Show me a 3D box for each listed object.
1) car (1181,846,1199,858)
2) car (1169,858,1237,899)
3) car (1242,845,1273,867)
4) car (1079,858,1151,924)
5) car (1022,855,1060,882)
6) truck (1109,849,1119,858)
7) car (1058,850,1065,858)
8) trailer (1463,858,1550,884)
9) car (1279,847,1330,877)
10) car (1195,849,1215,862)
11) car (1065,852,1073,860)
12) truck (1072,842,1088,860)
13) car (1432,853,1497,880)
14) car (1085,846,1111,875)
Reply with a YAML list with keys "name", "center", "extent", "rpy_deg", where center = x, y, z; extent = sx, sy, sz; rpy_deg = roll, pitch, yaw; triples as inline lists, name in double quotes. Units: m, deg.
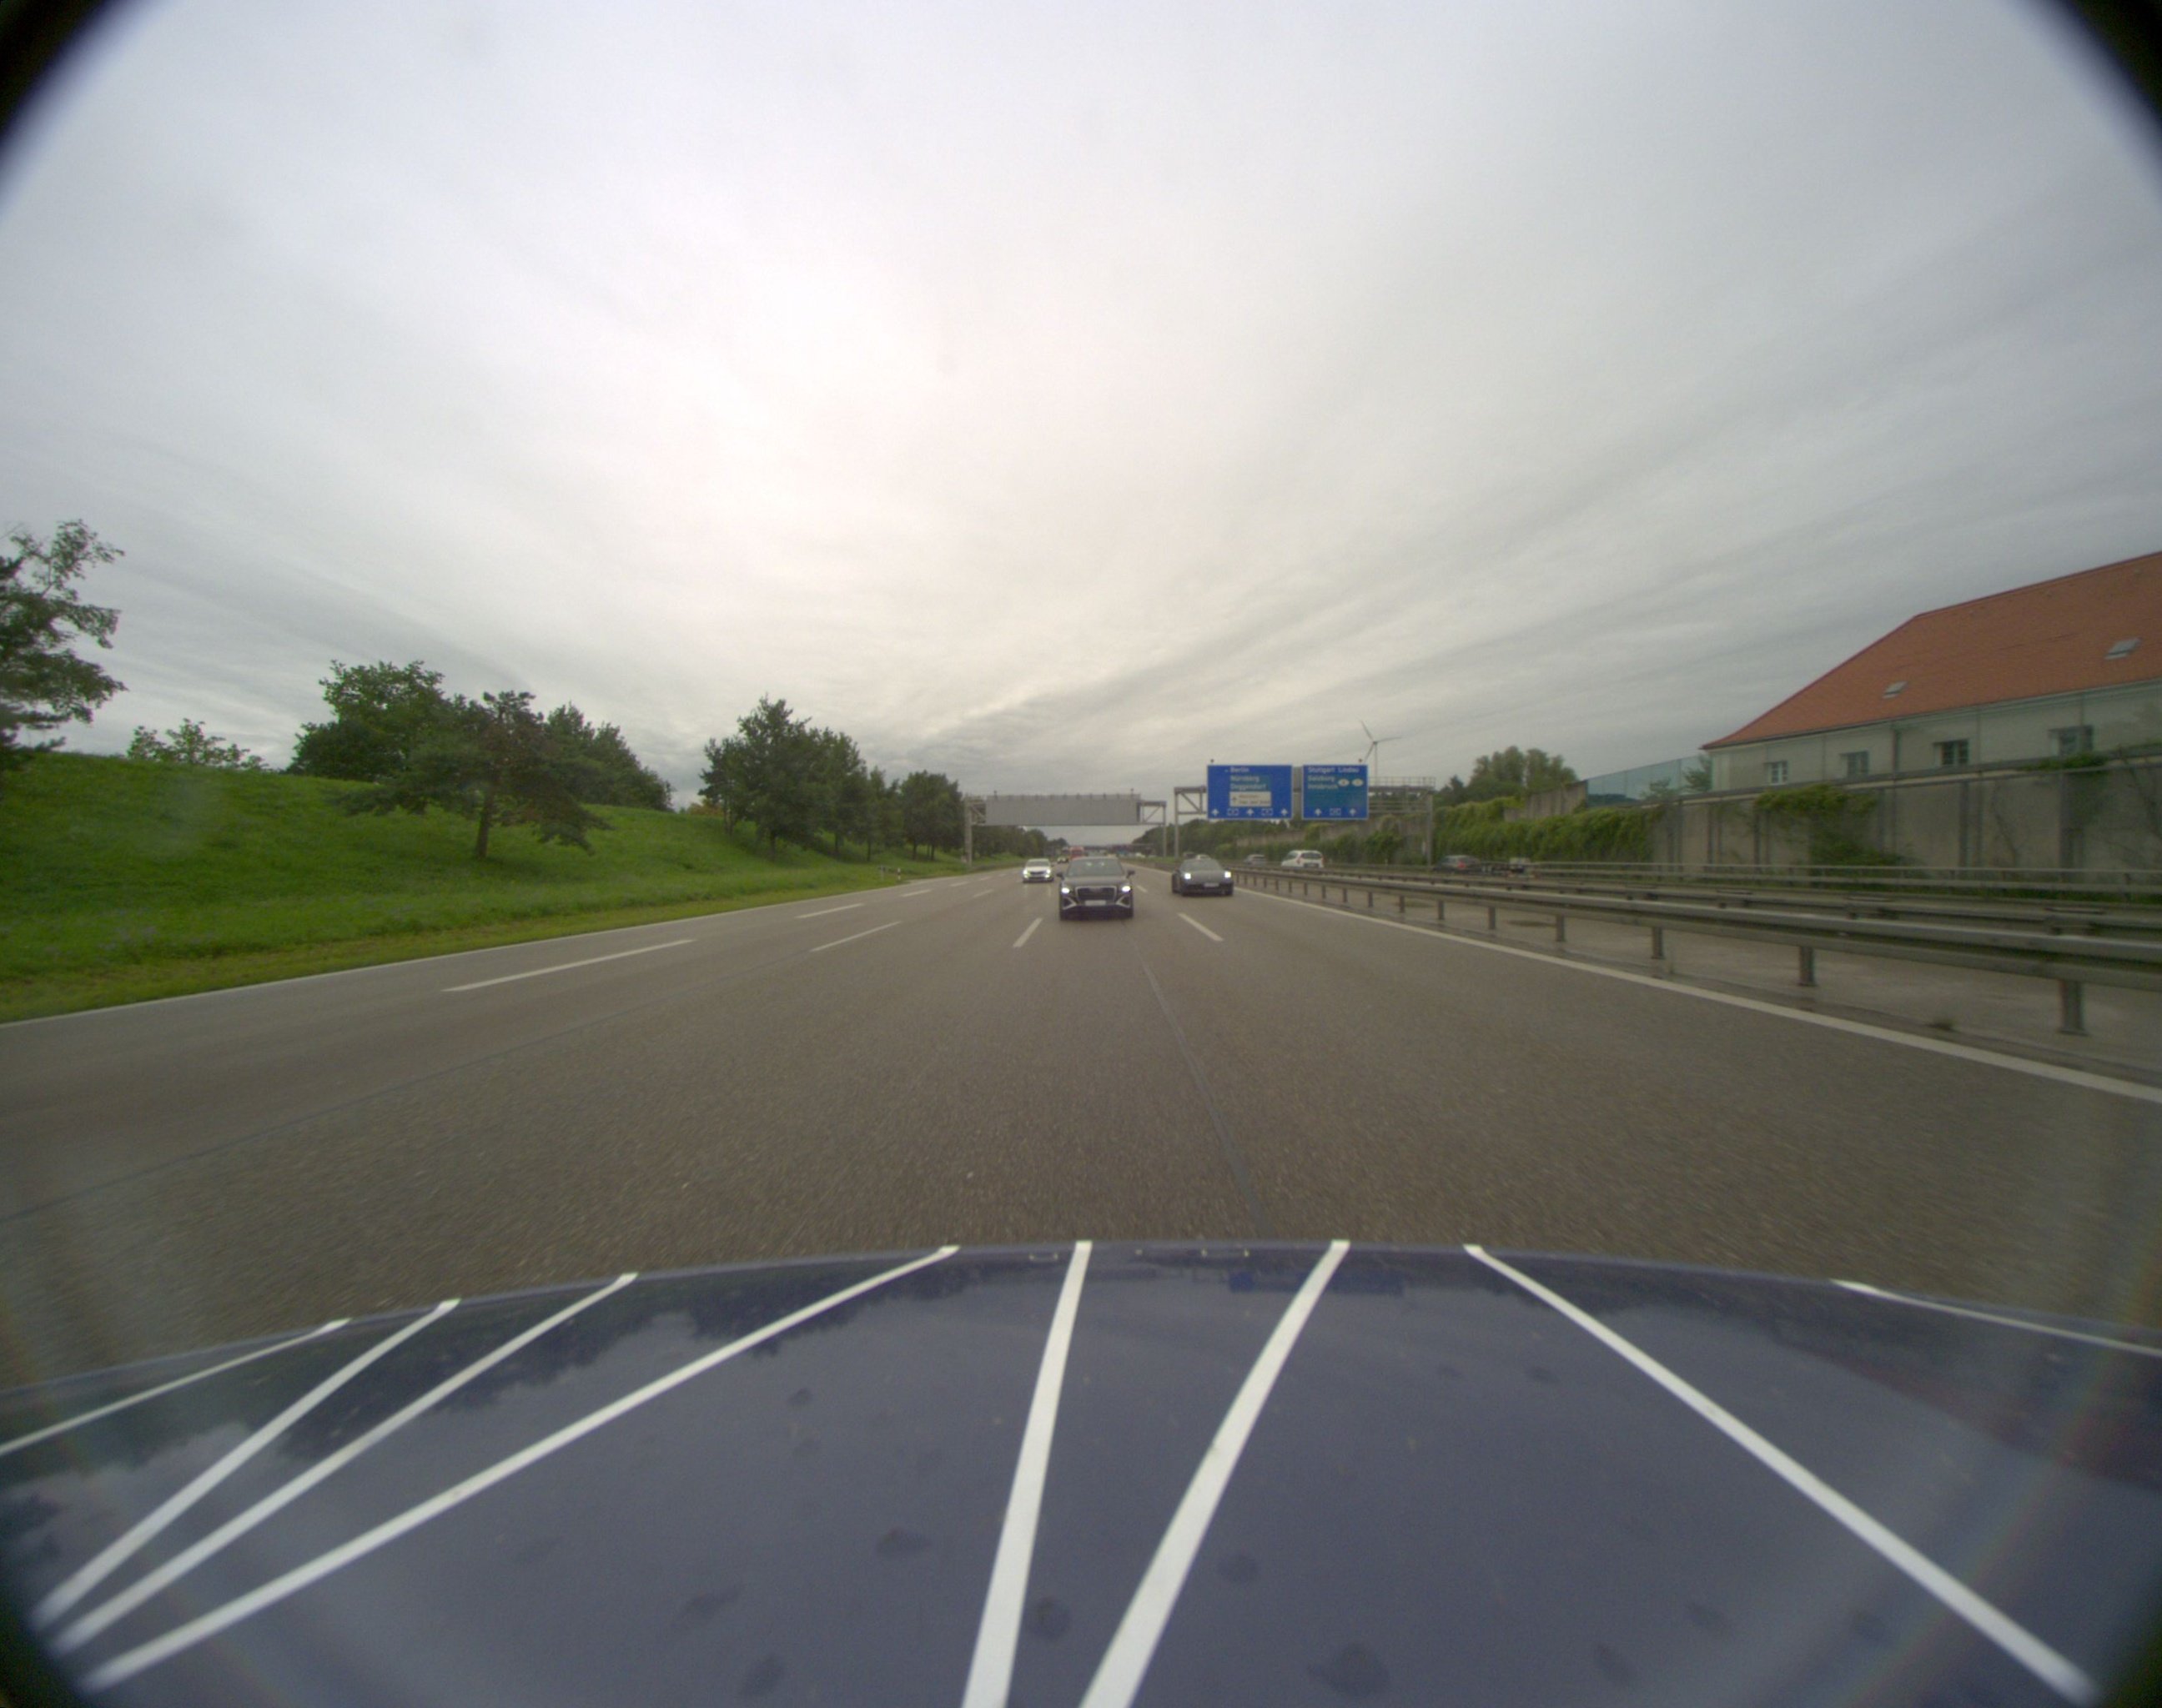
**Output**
- name: "car"
  center: [18.684, -0.406, 130.328]
  extent: [2.214, 1.960, 6.270]
  rpy_deg: [-2, 1, 1]
- name: "car"
  center: [4.392, 0.831, 28.027]
  extent: [1.655, 1.264, 4.924]
  rpy_deg: [-2, 1, 0]
- name: "car"
  center: [17.832, 0.172, 76.888]
  extent: [1.937, 2.002, 4.731]
  rpy_deg: [-2, 1, 0]
- name: "car"
  center: [0.796, 0.866, 19.308]
  extent: [1.616, 1.403, 3.326]
  rpy_deg: [-2, 1, 0]
- name: "car"
  center: [-2.454, 0.884, 47.947]
  extent: [1.998, 1.555, 4.910]
  rpy_deg: [-1, 0, 1]
- name: "truck"
  center: [7.157, -0.091, 164.975]
  extent: [1.998, 2.002, 4.000]
  rpy_deg: [-2, 0, 1]
- name: "car"
  center: [-4.502, 0.054, 173.823]
  extent: [1.346, 1.732, 3.106]
  rpy_deg: [-2, 1, 1]
- name: "trailer"
  center: [24.151, 0.917, 43.413]
  extent: [2.135, 1.260, 5.247]
  rpy_deg: [-2, 1, 1]
- name: "car"
  center: [13.963, 0.468, 47.697]
  extent: [1.792, 1.741, 4.535]
  rpy_deg: [-2, 1, 0]
- name: "car"
  center: [14.682, 0.139, 90.217]
  extent: [1.605, 1.398, 4.764]
  rpy_deg: [3, 1, 0]
- name: "car"
  center: [-3.140, 0.545, 200.259]
  extent: [1.998, 2.002, 4.000]
  rpy_deg: [-2, 1, 2]
- name: "truck"
  center: [-0.103, -0.650, 156.228]
  extent: [2.836, 3.634, 10.670]
  rpy_deg: [-2, 1, 1]
- name: "car"
  center: [24.327, 0.770, 48.373]
  extent: [1.960, 1.543, 4.521]
  rpy_deg: [-2, 1, 2]
- name: "car"
  center: [1.739, 0.614, 78.933]
  extent: [2.459, 2.726, 8.265]
  rpy_deg: [-2, 1, 1]
